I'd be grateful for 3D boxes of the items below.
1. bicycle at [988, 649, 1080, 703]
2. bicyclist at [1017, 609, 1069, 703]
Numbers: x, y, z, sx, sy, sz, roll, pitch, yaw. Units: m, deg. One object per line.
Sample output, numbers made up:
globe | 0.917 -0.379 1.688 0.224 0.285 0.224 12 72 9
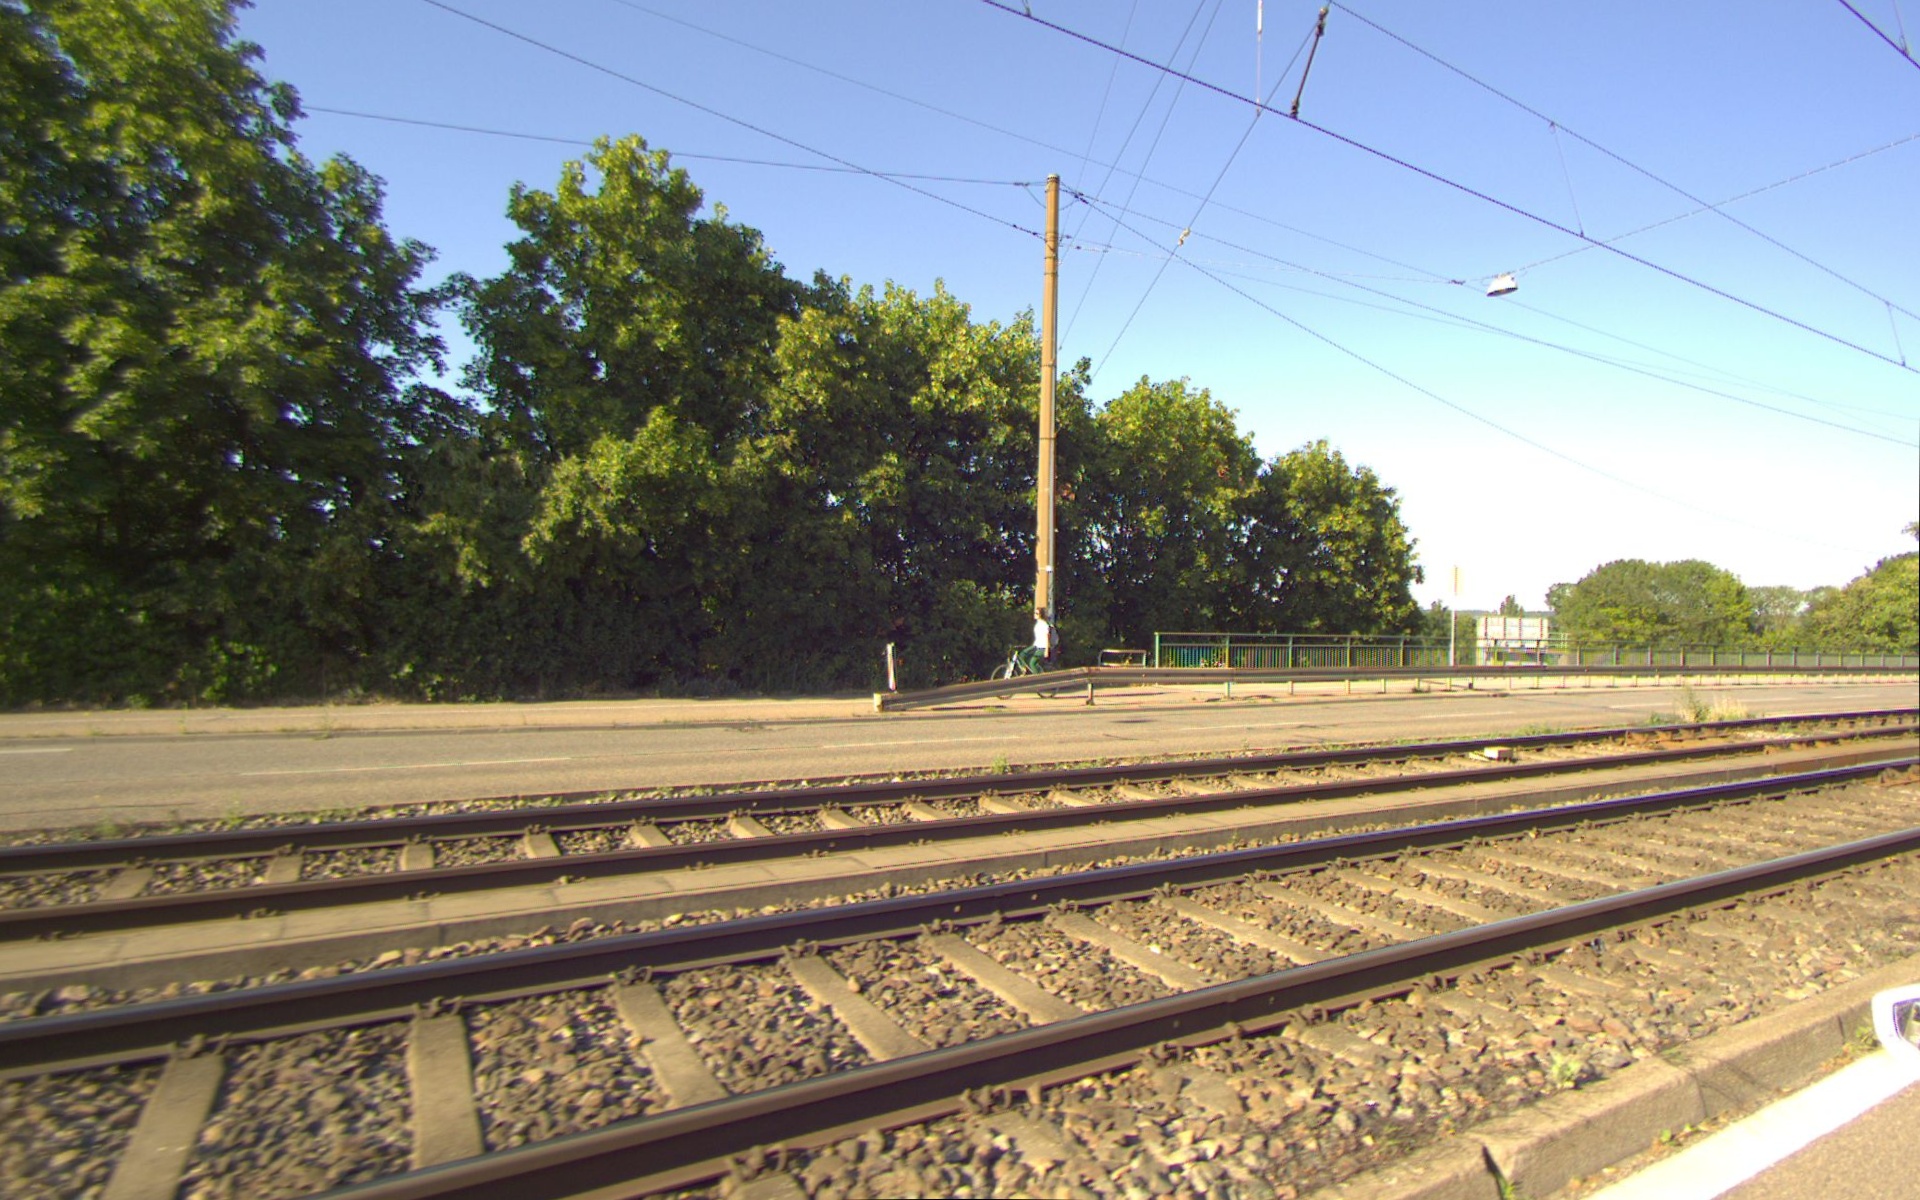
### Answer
bicycle | 1.531 1.553 20.673 1.903 1.057 0.537 2 1 -31
bicyclist | 1.711 1.144 20.768 0.865 1.887 0.537 2 1 -30
